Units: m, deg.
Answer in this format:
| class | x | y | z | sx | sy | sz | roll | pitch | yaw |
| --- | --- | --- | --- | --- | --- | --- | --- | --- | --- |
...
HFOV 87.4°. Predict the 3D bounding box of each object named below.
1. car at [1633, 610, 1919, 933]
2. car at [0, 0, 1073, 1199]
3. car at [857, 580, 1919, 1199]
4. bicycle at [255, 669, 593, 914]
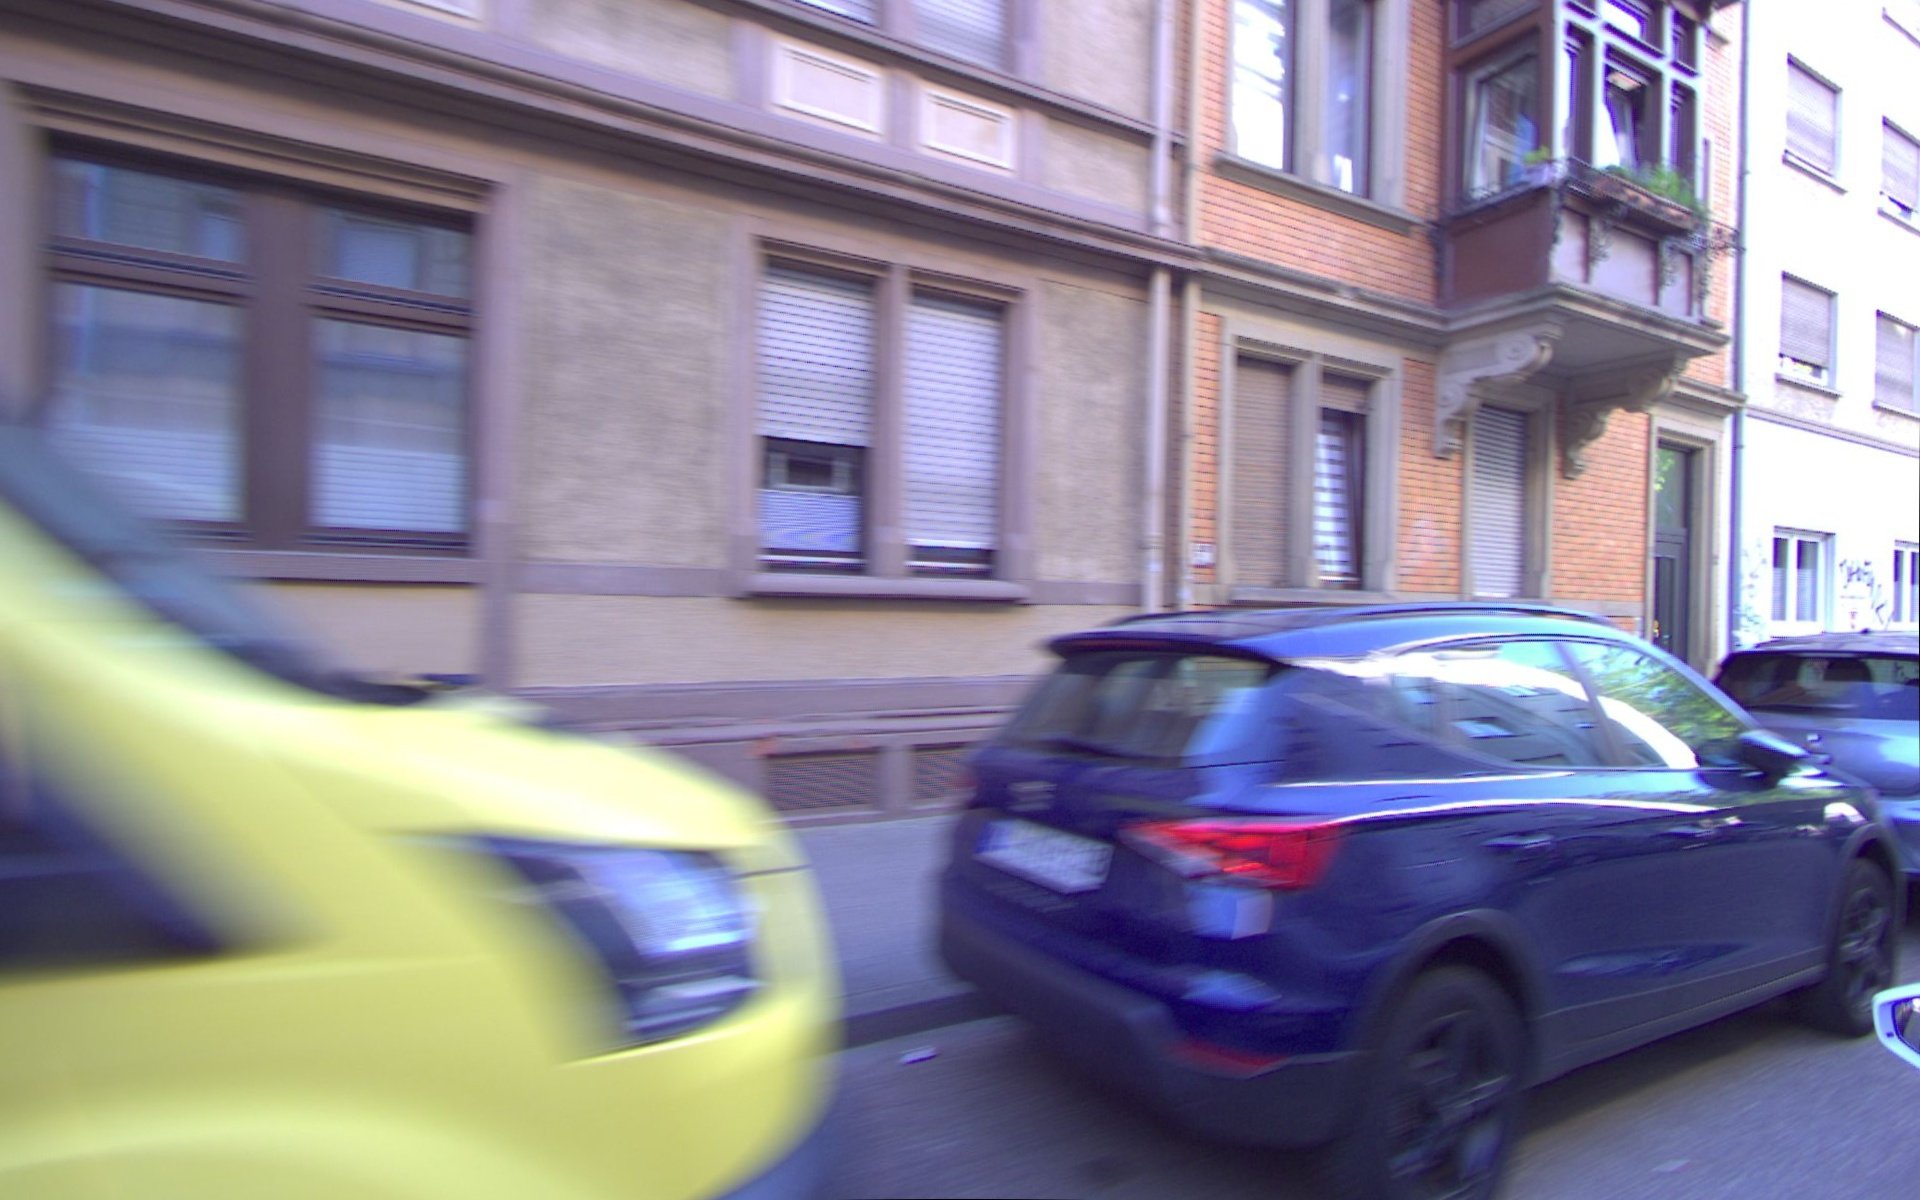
| class | x | y | z | sx | sy | sz | roll | pitch | yaw |
| --- | --- | --- | --- | --- | --- | --- | --- | --- | --- |
| car | 5.837 | 0.846 | 5.939 | 3.602 | 1.469 | 1.669 | 1 | 0 | -30 |
| car | -2.880 | 0.175 | 0.802 | 5.810 | 2.540 | 2.165 | 1 | -3 | -31 |
| car | 1.820 | 0.788 | 3.860 | 3.954 | 1.572 | 1.984 | 1 | -1 | -31 |
| bicycle | -2.444 | 0.817 | 4.720 | 0.416 | 0.914 | 1.355 | 1 | -1 | 35 |
